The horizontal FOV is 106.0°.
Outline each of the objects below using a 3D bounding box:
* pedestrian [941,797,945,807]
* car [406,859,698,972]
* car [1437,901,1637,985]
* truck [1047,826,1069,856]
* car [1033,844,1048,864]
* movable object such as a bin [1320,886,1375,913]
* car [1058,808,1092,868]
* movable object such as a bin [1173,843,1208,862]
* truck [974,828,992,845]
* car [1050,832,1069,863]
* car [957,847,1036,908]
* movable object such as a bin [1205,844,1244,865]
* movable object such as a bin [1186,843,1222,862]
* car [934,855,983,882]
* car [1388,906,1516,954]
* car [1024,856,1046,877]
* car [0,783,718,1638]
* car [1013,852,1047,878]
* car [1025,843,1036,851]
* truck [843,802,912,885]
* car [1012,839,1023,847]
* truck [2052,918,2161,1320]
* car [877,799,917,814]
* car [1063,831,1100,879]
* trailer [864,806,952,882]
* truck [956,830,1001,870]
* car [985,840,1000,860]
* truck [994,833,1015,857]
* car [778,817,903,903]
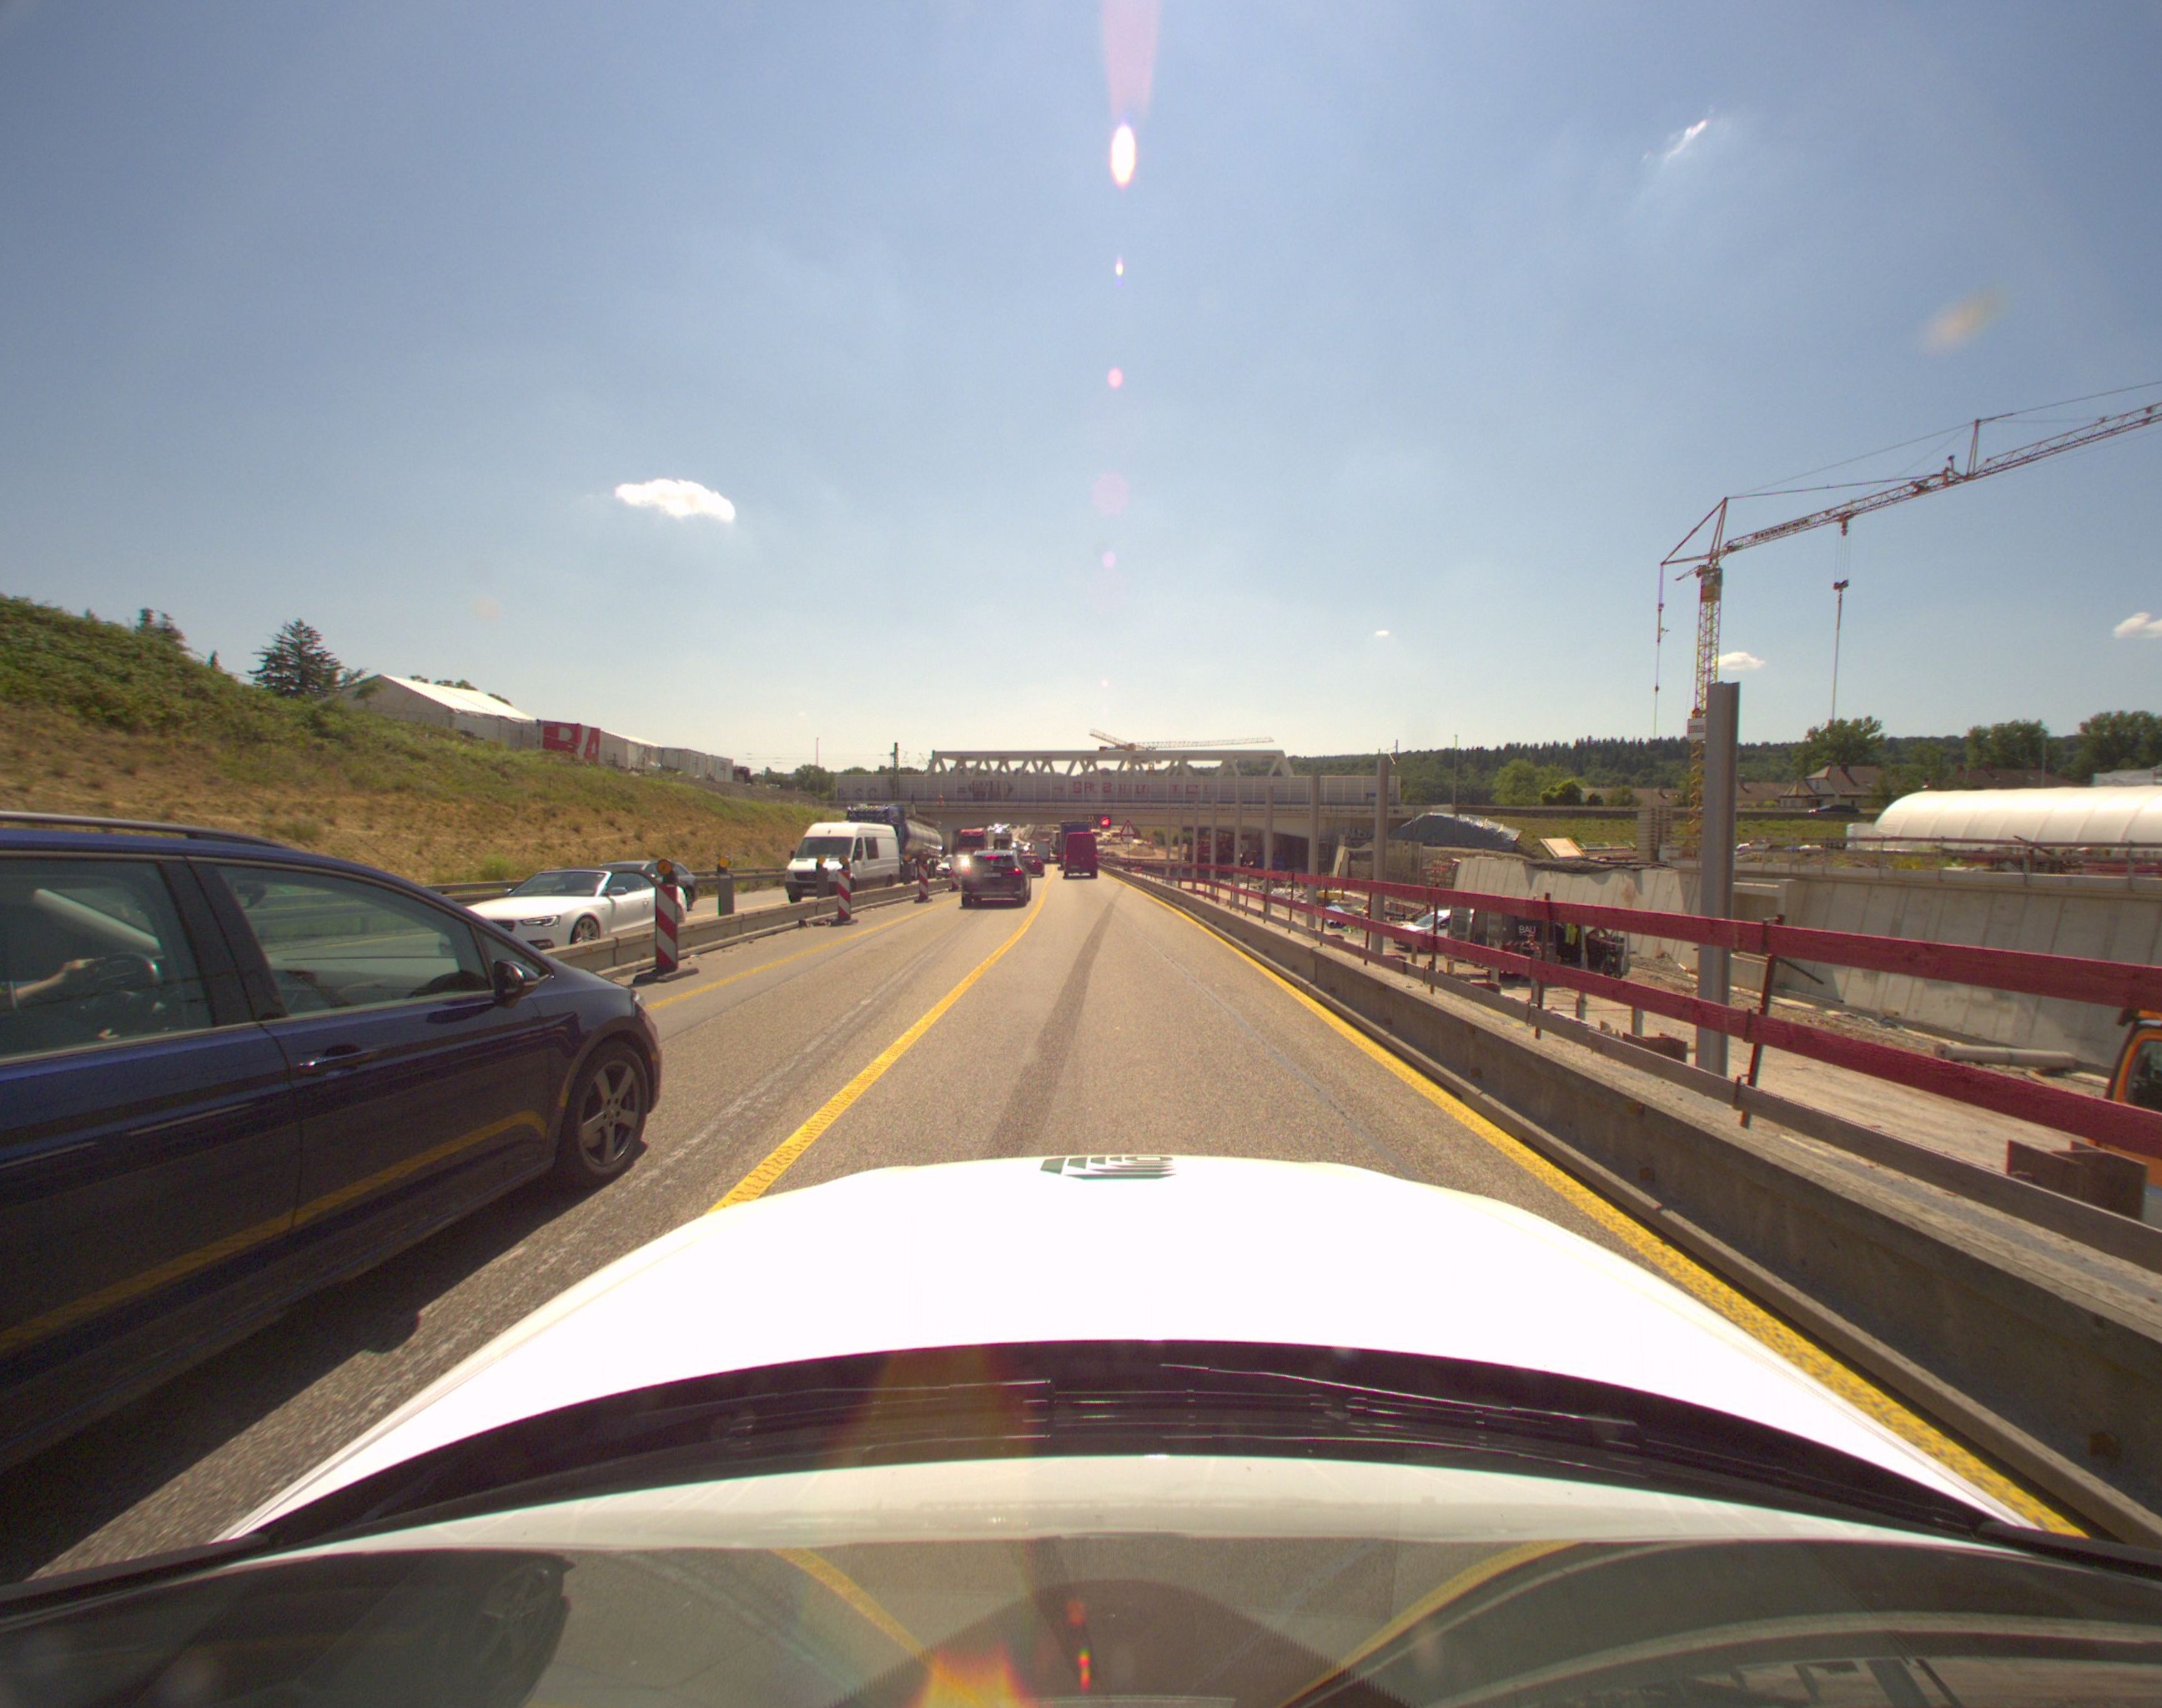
[{"bbox_3d":[-17.256,-6.536,101.878,0.334,1.211,0.309,0,0,11],"label":"pedestrian"},{"bbox_3d":[-8.264,0.852,13.366,1.795,1.447,4.635,0,0,-1],"label":"car"},{"bbox_3d":[16.298,3.100,29.249,6.092,2.584,2.520,1,2,-12],"label":"car"},{"bbox_3d":[-4.464,-2.403,153.322,2.833,5.398,12.878,0,0,-8],"label":"truck"},{"bbox_3d":[-5.088,-0.031,102.469,1.772,2.441,4.202,-1,1,-3],"label":"car"},{"bbox_3d":[17.350,2.964,53.043,3.067,1.563,1.563,0,0,33],"label":"movable object such as a bin"},{"bbox_3d":[-0.618,-1.404,73.741,2.615,5.032,10.386,-1,1,-3],"label":"car"},{"bbox_3d":[16.713,-0.218,124.010,5.125,2.807,2.144,0,0,3],"label":"movable object such as a bin"},{"bbox_3d":[-23.195,-4.000,191.916,2.838,3.852,12.855,0,0,-13],"label":"truck"},{"bbox_3d":[-3.049,-0.921,113.415,2.444,4.160,6.853,-1,1,-3],"label":"car"},{"bbox_3d":[-2.426,0.612,24.462,1.874,1.618,4.499,-1,1,0],"label":"car"},{"bbox_3d":[19.769,0.084,112.531,5.125,2.807,2.144,0,0,3],"label":"movable object such as a bin"},{"bbox_3d":[18.024,-0.187,119.556,5.125,2.807,2.144,0,0,3],"label":"movable object such as a bin"},{"bbox_3d":[-6.865,0.770,46.103,1.810,1.383,4.588,0,0,3],"label":"car"},{"bbox_3d":[16.392,3.331,36.146,4.714,1.773,2.000,1,2,-1],"label":"car"},{"bbox_3d":[-3.976,1.083,70.641,1.835,1.654,4.160,-1,1,-3],"label":"car"},{"bbox_3d":[-3.051,0.699,2.440,1.770,1.718,4.653,0,1,1],"label":"car"},{"bbox_3d":[-3.174,0.647,51.183,1.770,1.517,4.207,-1,1,1],"label":"car"},{"bbox_3d":[-11.070,-1.478,178.770,1.879,1.656,3.985,0,0,-11],"label":"car"},{"bbox_3d":[-10.317,-0.528,41.662,2.348,4.015,4.002,0,0,2],"label":"truck"},{"bbox_3d":[-15.137,-2.587,194.202,1.995,2.013,3.983,0,0,-13],"label":"car"},{"bbox_3d":[12.072,2.672,6.037,2.750,3.886,5.879,0,0,-1],"label":"truck"},{"bbox_3d":[-23.583,-6.082,104.308,4.524,1.783,1.966,0,0,10],"label":"car"},{"bbox_3d":[-0.042,0.027,48.964,1.984,2.690,4.619,-1,1,-3],"label":"car"},{"bbox_3d":[-10.016,-0.581,48.541,2.338,4.015,11.457,0,0,2],"label":"trailer"},{"bbox_3d":[-10.462,-0.458,84.410,2.825,3.852,12.913,0,0,1],"label":"truck"},{"bbox_3d":[-11.730,-0.568,108.262,1.576,2.654,5.385,0,0,-3],"label":"car"},{"bbox_3d":[-12.779,-1.485,137.587,2.828,3.852,12.901,0,0,-2],"label":"truck"},{"bbox_3d":[-7.993,0.150,27.989,1.986,2.606,7.014,0,0,2],"label":"car"}]
